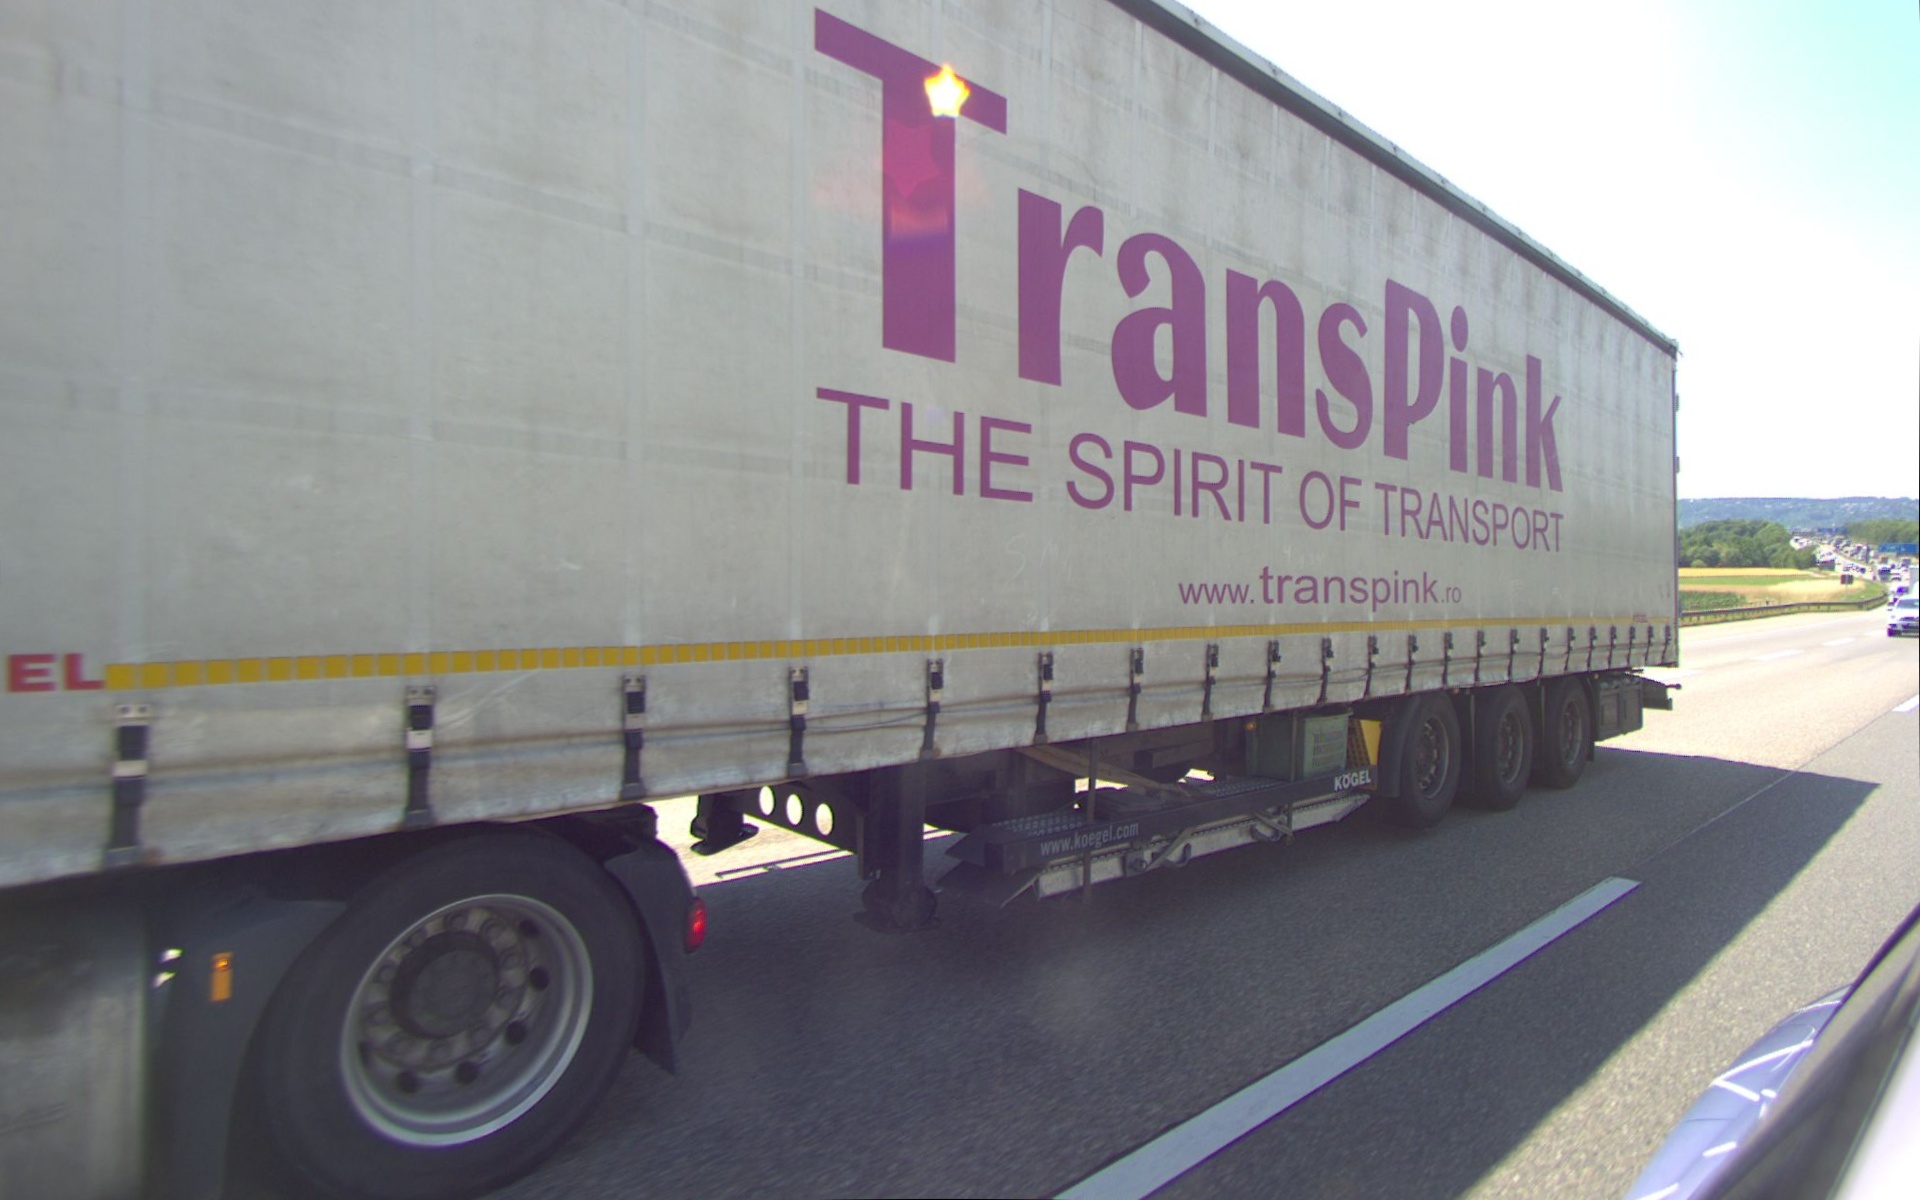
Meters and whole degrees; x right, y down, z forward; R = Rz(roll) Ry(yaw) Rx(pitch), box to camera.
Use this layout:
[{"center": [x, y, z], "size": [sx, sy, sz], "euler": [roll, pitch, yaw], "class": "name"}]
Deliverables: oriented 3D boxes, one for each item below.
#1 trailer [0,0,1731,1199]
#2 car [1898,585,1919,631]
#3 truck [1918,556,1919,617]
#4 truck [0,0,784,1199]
[{"center": [2.301, -0.521, 7.457], "size": [13.620, 4.169, 2.922], "euler": [-1, 1, -42], "class": "trailer"}, {"center": [38.152, 0.287, 39.691], "size": [4.105, 1.665, 1.833], "euler": [-2, 1, -45], "class": "car"}, {"center": [49.686, -0.691, 50.628], "size": [2.438, 3.066, 6.812], "euler": [0, 2, 42], "class": "truck"}, {"center": [-3.861, -0.631, 1.920], "size": [6.398, 4.059, 2.921], "euler": [-1, 0, -41], "class": "truck"}]
